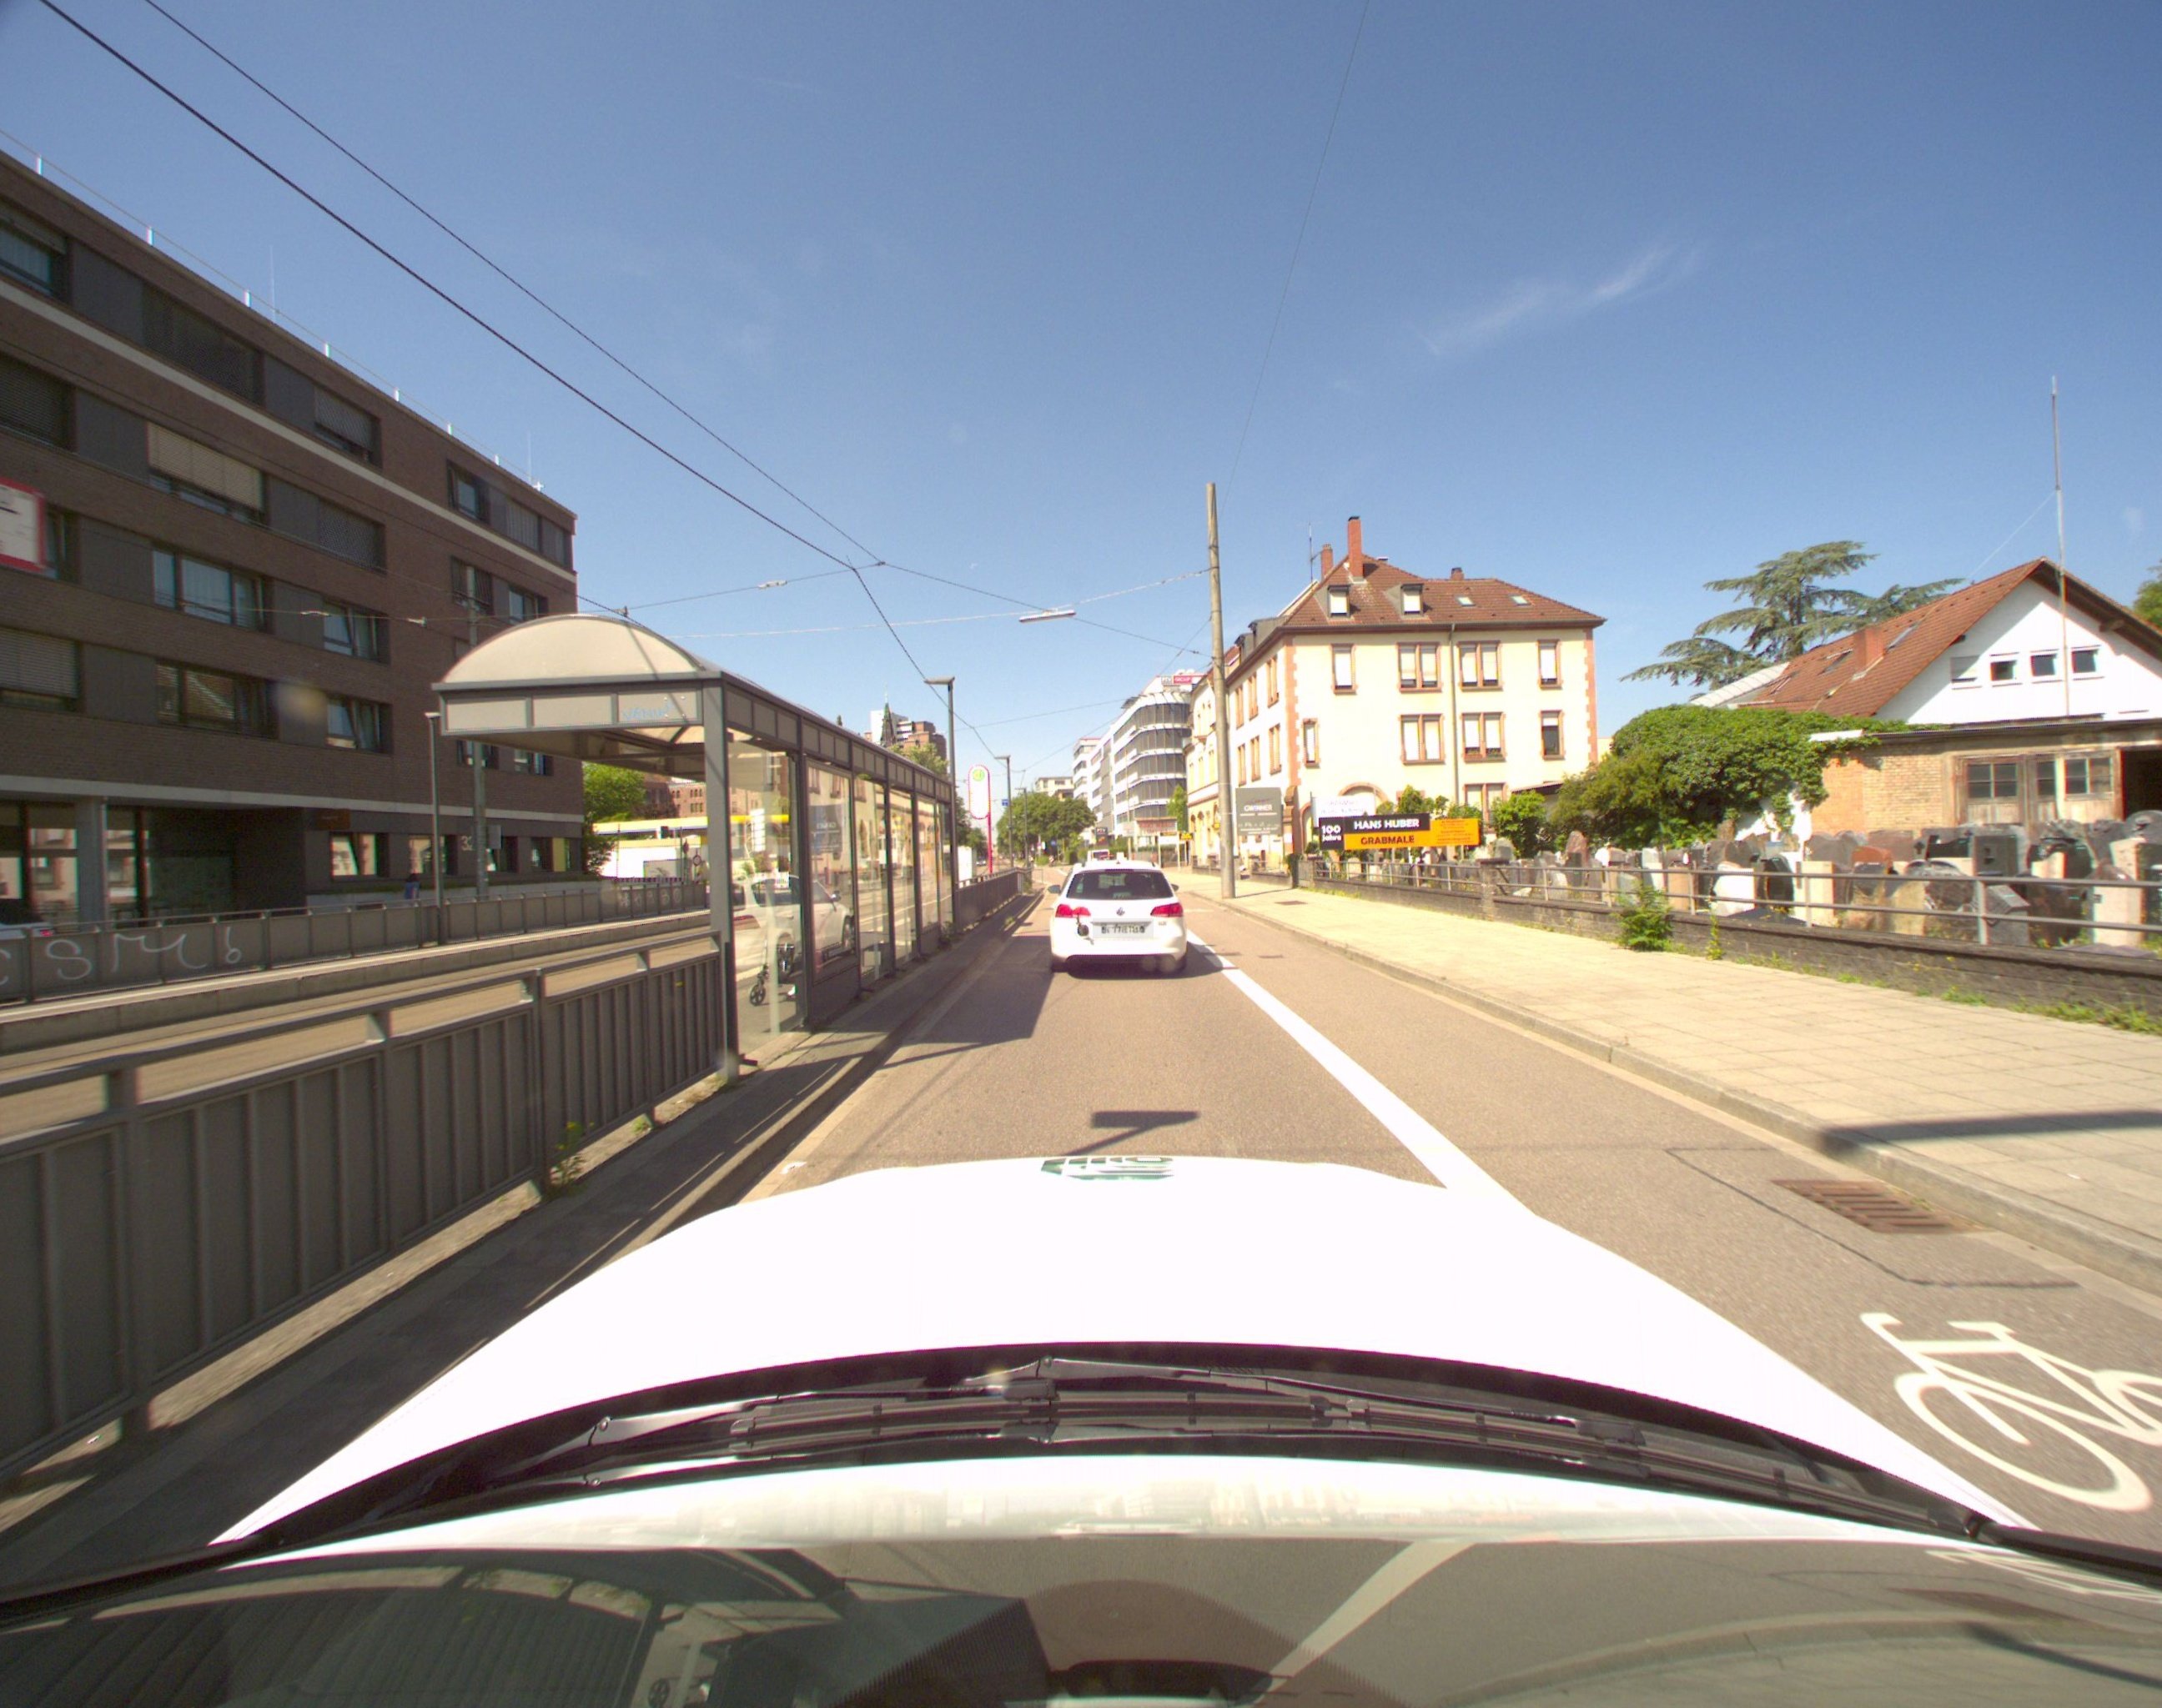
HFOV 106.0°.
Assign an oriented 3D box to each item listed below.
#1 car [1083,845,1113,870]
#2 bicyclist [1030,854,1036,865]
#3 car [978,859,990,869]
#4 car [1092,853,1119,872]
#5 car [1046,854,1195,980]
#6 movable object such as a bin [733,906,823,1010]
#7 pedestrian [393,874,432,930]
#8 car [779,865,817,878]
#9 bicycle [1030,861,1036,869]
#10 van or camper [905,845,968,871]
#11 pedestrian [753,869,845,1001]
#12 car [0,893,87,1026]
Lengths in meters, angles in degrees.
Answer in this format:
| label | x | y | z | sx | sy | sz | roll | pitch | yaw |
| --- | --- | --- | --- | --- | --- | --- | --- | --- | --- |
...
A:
| label | x | y | z | sx | sy | sz | roll | pitch | yaw |
| --- | --- | --- | --- | --- | --- | --- | --- | --- | --- |
| car | 1.526 | 0.334 | 75.066 | 1.974 | 2.054 | 5.181 | -4 | 0 | -5 |
| bicyclist | -6.845 | 0.768 | 115.363 | 0.784 | 1.629 | 0.737 | 1 | -1 | -6 |
| car | -17.341 | 1.817 | 145.764 | 1.741 | 1.571 | 3.890 | -3 | -1 | -1 |
| car | 2.012 | 0.697 | 68.863 | 1.719 | 1.443 | 4.304 | -4 | 0 | -5 |
| car | 0.439 | 0.741 | 11.823 | 1.748 | 1.442 | 4.411 | -1 | 0 | -1 |
| movable object such as a bin | -2.871 | 0.973 | 7.752 | 0.627 | 0.900 | 0.489 | -3 | 0 | 0 |
| pedestrian | -20.627 | 1.471 | 25.139 | 0.579 | 1.664 | 0.699 | -2 | 0 | 0 |
| car | -35.818 | 2.264 | 103.020 | 4.123 | 1.527 | 1.947 | -2 | -1 | 19 |
| bicycle | -6.836 | 1.502 | 115.430 | 0.810 | 1.078 | 2.008 | -2 | 0 | -5 |
| van or camper | -16.857 | 0.444 | 95.000 | 6.639 | 2.967 | 2.628 | 1 | -1 | 17 |
| pedestrian | -2.869 | 0.805 | 8.350 | 0.627 | 1.255 | 0.710 | -3 | 0 | 1 |
| car | -15.342 | 1.447 | 9.688 | 1.794 | 1.729 | 4.191 | -1 | 0 | 2 |
